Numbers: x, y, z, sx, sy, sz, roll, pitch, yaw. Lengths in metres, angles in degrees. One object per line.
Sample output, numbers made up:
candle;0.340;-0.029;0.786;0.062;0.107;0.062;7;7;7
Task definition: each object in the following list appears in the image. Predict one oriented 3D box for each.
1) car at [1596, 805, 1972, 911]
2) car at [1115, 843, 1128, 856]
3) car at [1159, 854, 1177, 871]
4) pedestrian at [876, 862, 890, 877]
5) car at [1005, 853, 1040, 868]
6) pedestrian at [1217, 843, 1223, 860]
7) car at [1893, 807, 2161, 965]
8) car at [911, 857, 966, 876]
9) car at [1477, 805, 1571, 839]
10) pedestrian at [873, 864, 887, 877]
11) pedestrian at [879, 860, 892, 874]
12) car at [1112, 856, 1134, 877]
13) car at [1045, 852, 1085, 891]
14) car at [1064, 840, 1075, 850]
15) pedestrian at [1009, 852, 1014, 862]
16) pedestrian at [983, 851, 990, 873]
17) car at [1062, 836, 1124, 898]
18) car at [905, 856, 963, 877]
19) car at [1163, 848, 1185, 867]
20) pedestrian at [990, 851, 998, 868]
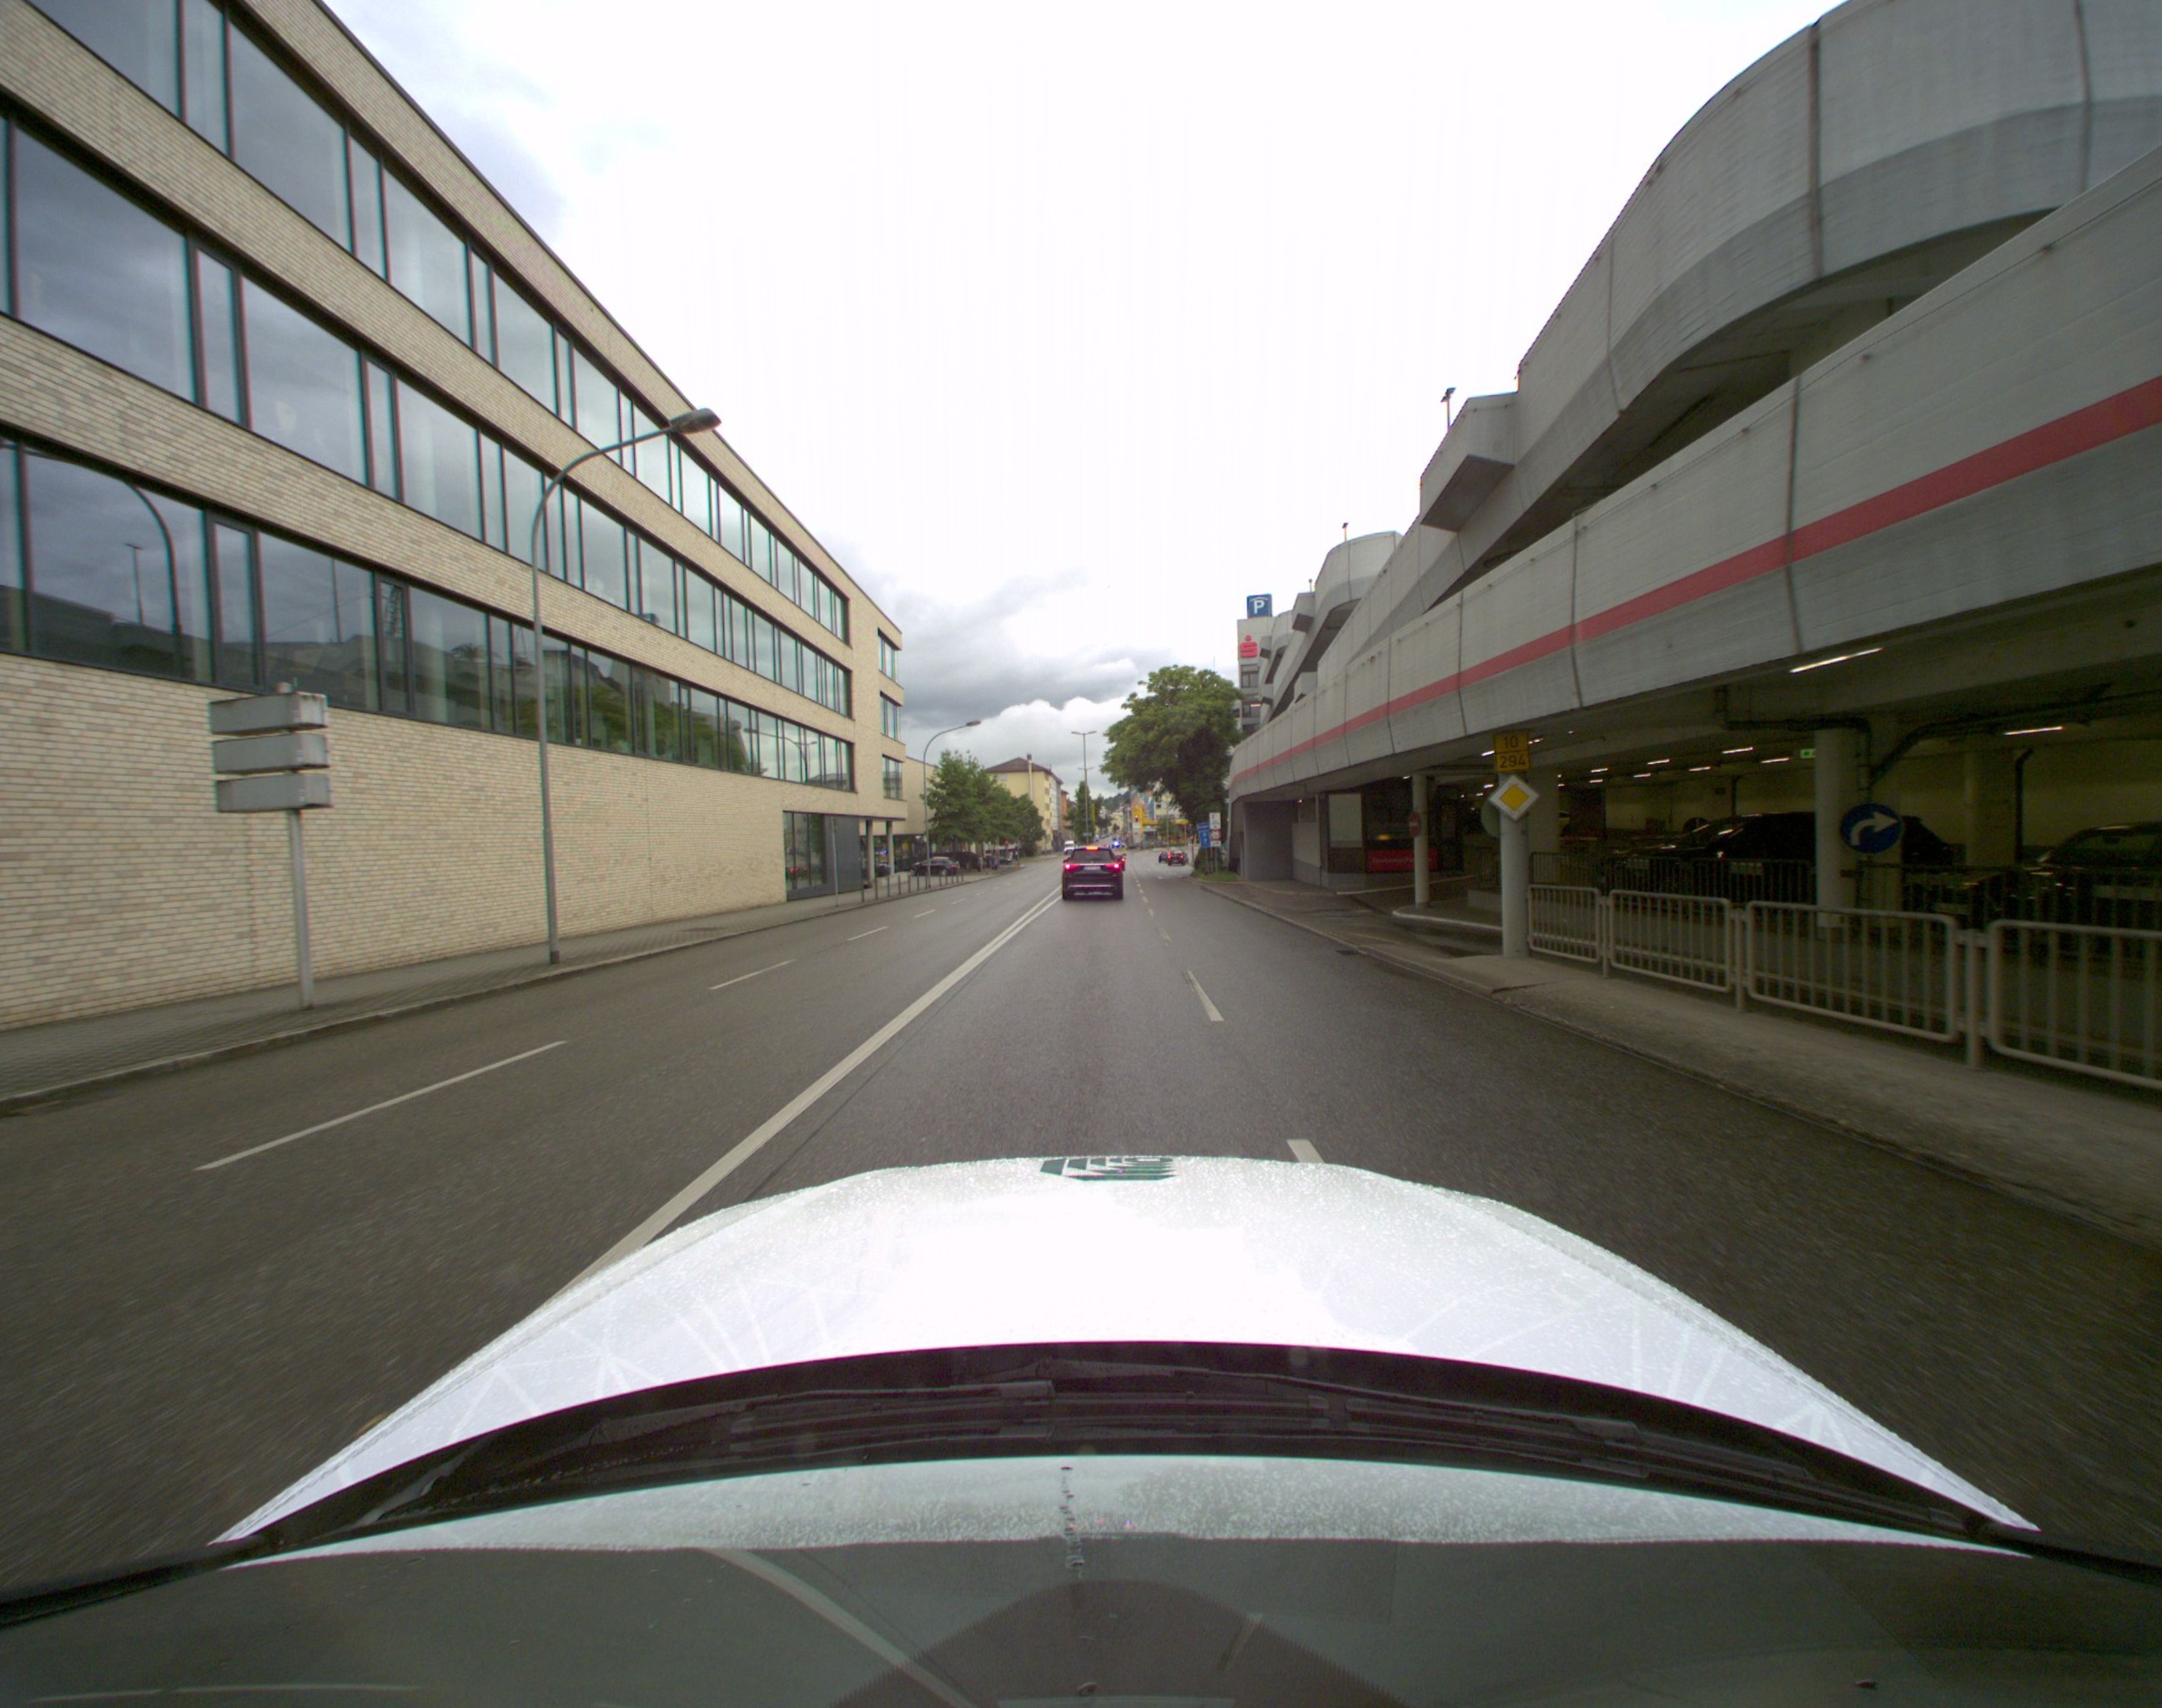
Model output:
car;11.726;0.069;13.963;4.543;1.640;1.828;0;-1;13
car;6.363;-0.743;129.659;1.986;2.013;4.001;0;1;1
car;10.784;1.083;101.280;1.985;2.014;4.003;0;-1;3
pedestrian;-12.159;0.945;50.026;0.678;0.886;0.524;0;-1;2
car;-8.236;0.884;114.658;4.797;2.013;1.996;-2;0;-6
pedestrian;12.468;-0.250;72.968;0.548;1.532;0.489;0;-1;8
car;11.809;0.266;8.946;3.700;1.505;1.812;-3;1;10
car;-12.245;1.056;70.342;4.406;1.573;1.998;0;1;-3
car;23.373;-1.670;43.081;3.961;1.640;2.006;0;-1;11
pedestrian;-12.103;0.992;49.091;0.595;0.786;0.760;0;-1;2
pedestrian;-11.977;0.822;50.016;0.584;0.845;0.728;-1;-1;2
car;3.476;1.050;67.887;1.698;1.716;3.442;0;-1;-1
car;-0.829;0.934;44.784;1.986;2.014;4.001;0;-1;1
car;-2.146;-1.678;157.399;1.986;1.875;5.142;0;-1;1
pedestrian;-10.338;0.418;120.966;0.708;1.462;0.598;0;-1;1
pedestrian;-8.689;0.703;74.883;0.586;2.014;0.749;0;-1;0
car;0.439;0.438;28.175;1.986;2.014;4.001;0;-1;1
car;-12.266;1.025;68.198;4.459;1.587;1.997;-2;0;-4
car;10.138;0.371;89.311;1.987;2.013;4.001;-1;0;1
pedestrian;-9.135;0.611;85.600;0.686;1.726;0.754;0;-3;2
